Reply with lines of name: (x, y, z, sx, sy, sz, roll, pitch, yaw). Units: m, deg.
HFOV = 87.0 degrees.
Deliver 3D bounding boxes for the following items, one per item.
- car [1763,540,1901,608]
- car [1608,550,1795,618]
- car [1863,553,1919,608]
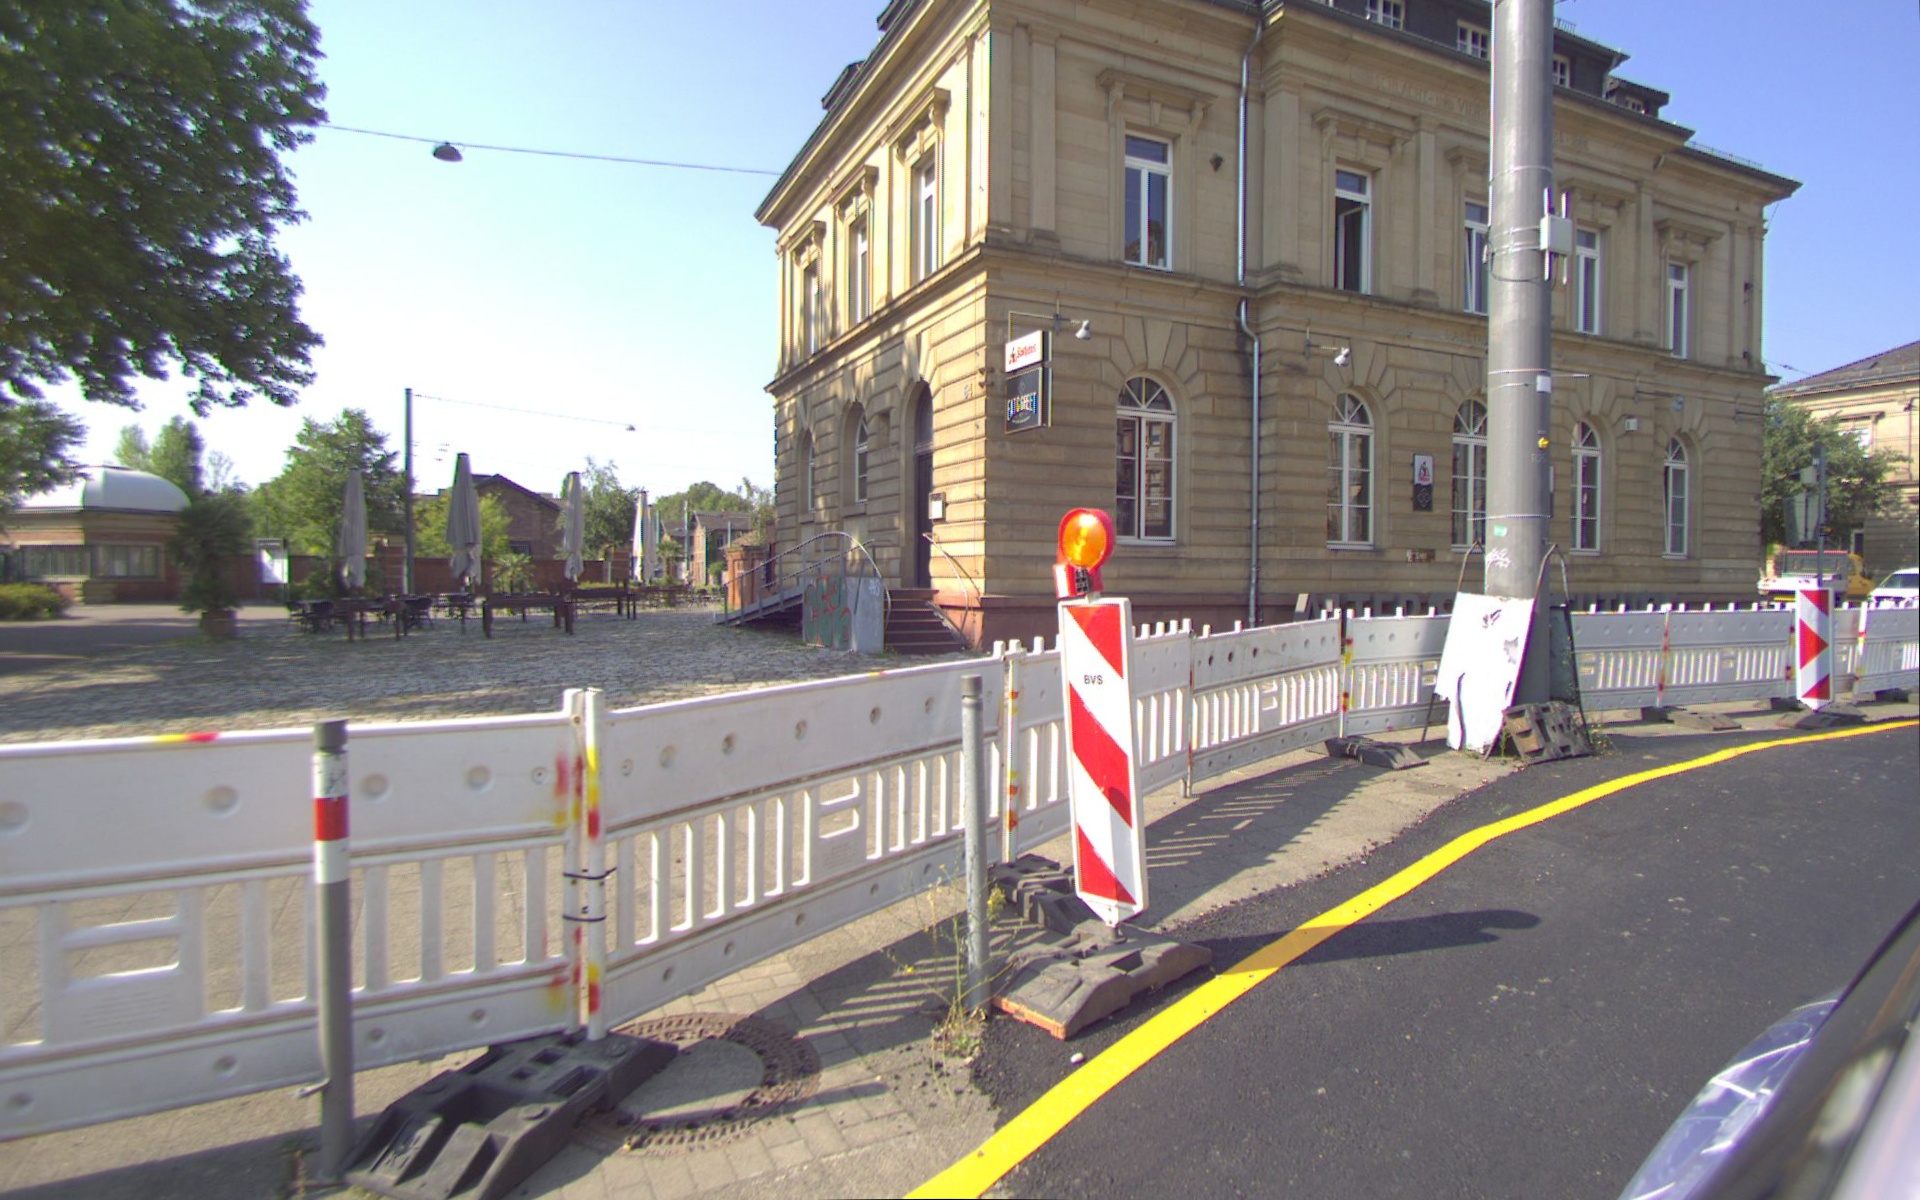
car: (33.419, -0.990, 38.762, 5.379, 2.452, 2.268, -1, 2, -30)
car: (21.073, -0.530, 28.888, 1.638, 1.554, 4.005, -4, 8, -43)
car: (33.488, -0.588, 34.763, 4.136, 1.805, 1.915, 2, 2, -21)
